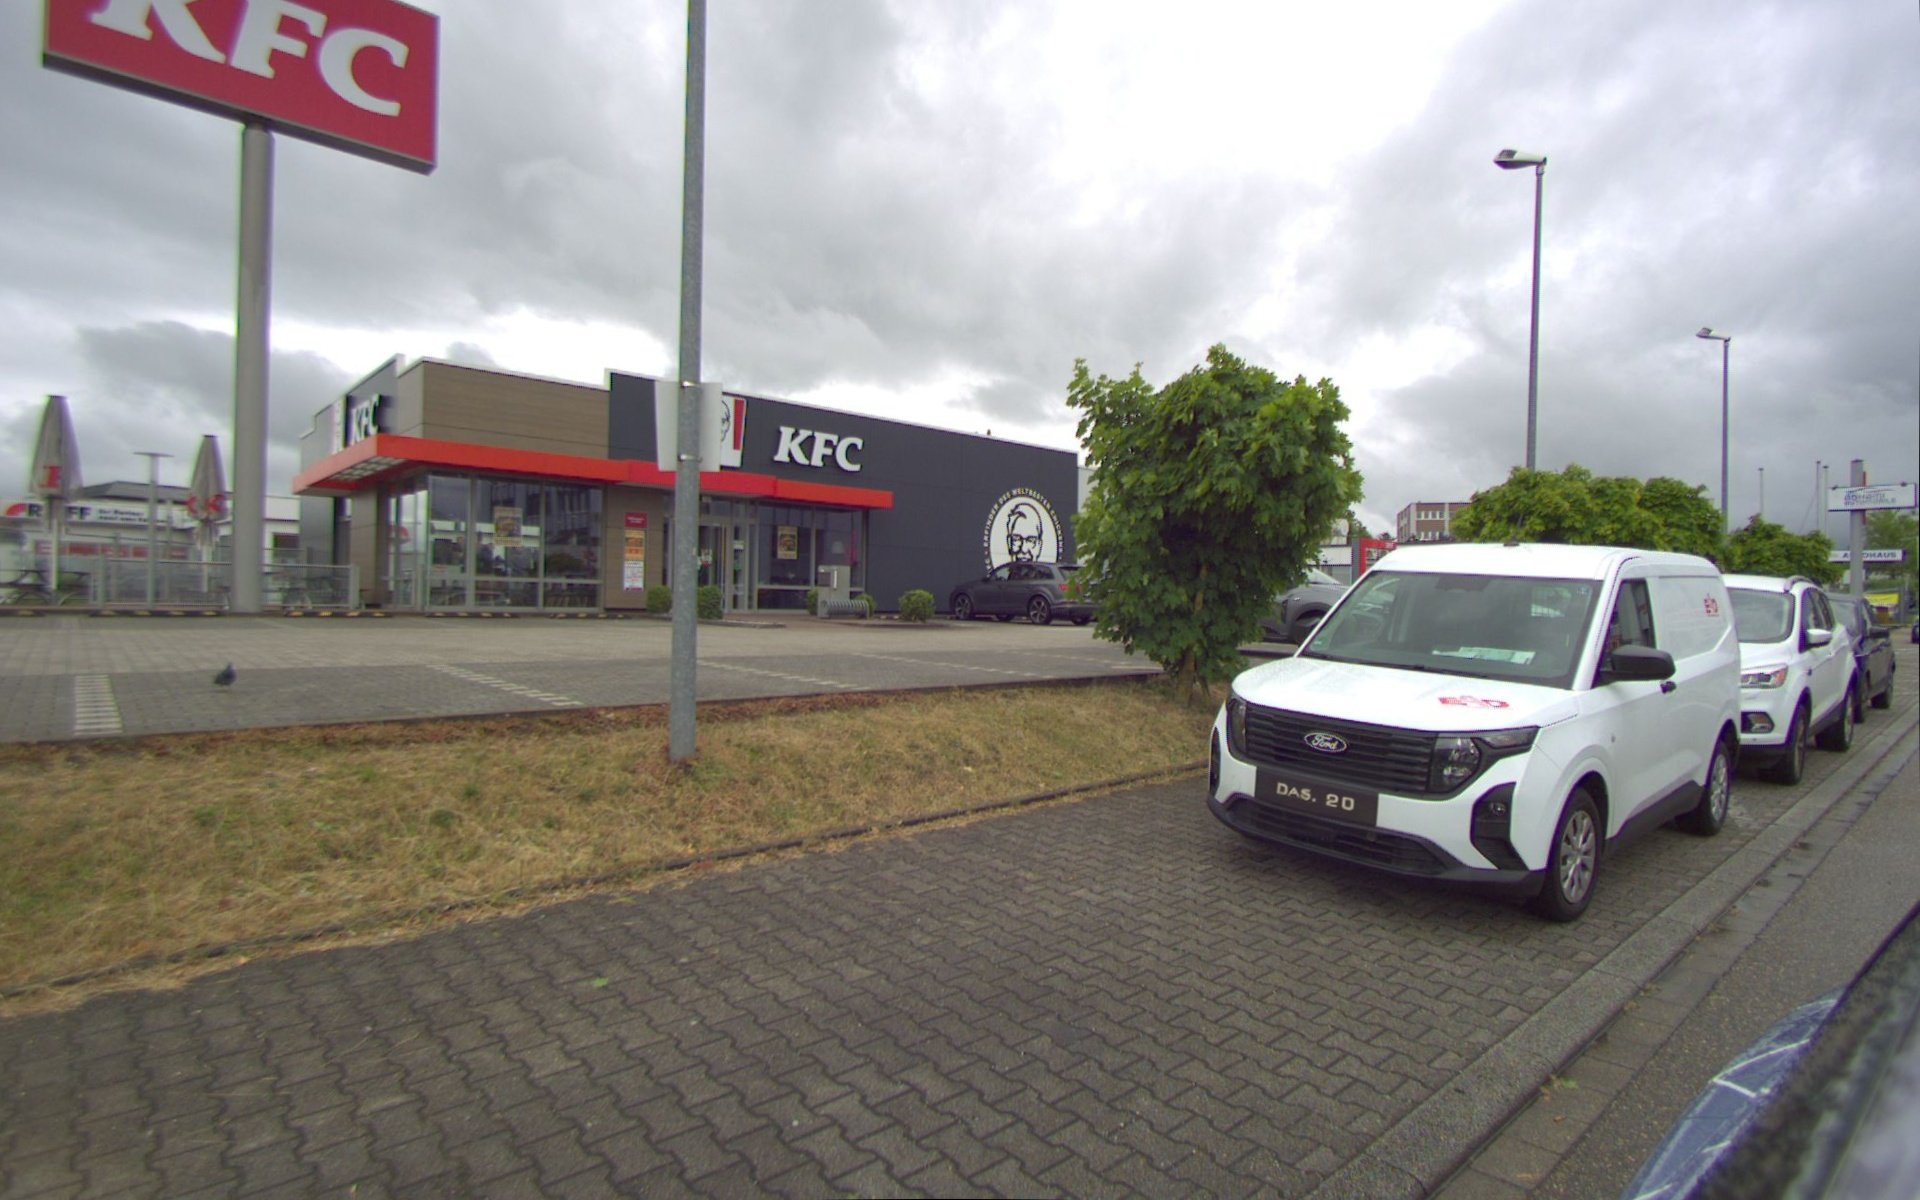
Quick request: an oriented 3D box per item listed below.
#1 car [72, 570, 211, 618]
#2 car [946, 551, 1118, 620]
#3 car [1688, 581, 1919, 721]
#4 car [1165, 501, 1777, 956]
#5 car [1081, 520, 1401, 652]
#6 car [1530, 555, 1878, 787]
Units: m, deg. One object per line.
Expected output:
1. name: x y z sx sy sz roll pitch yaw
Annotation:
1. car: -30.732 -0.227 38.060 3.934 1.701 1.952 0 1 -44
2. car: 1.921 -0.418 28.109 4.729 1.762 1.862 1 1 45
3. car: 11.474 0.558 13.655 3.930 1.618 1.821 -1 1 -41
4. car: 3.263 0.449 6.062 4.175 1.805 1.796 -1 3 -41
5. car: 4.216 -0.229 15.706 4.489 1.762 1.862 1 1 45
6. car: 7.099 0.500 9.516 3.930 1.730 1.821 -1 1 -41
